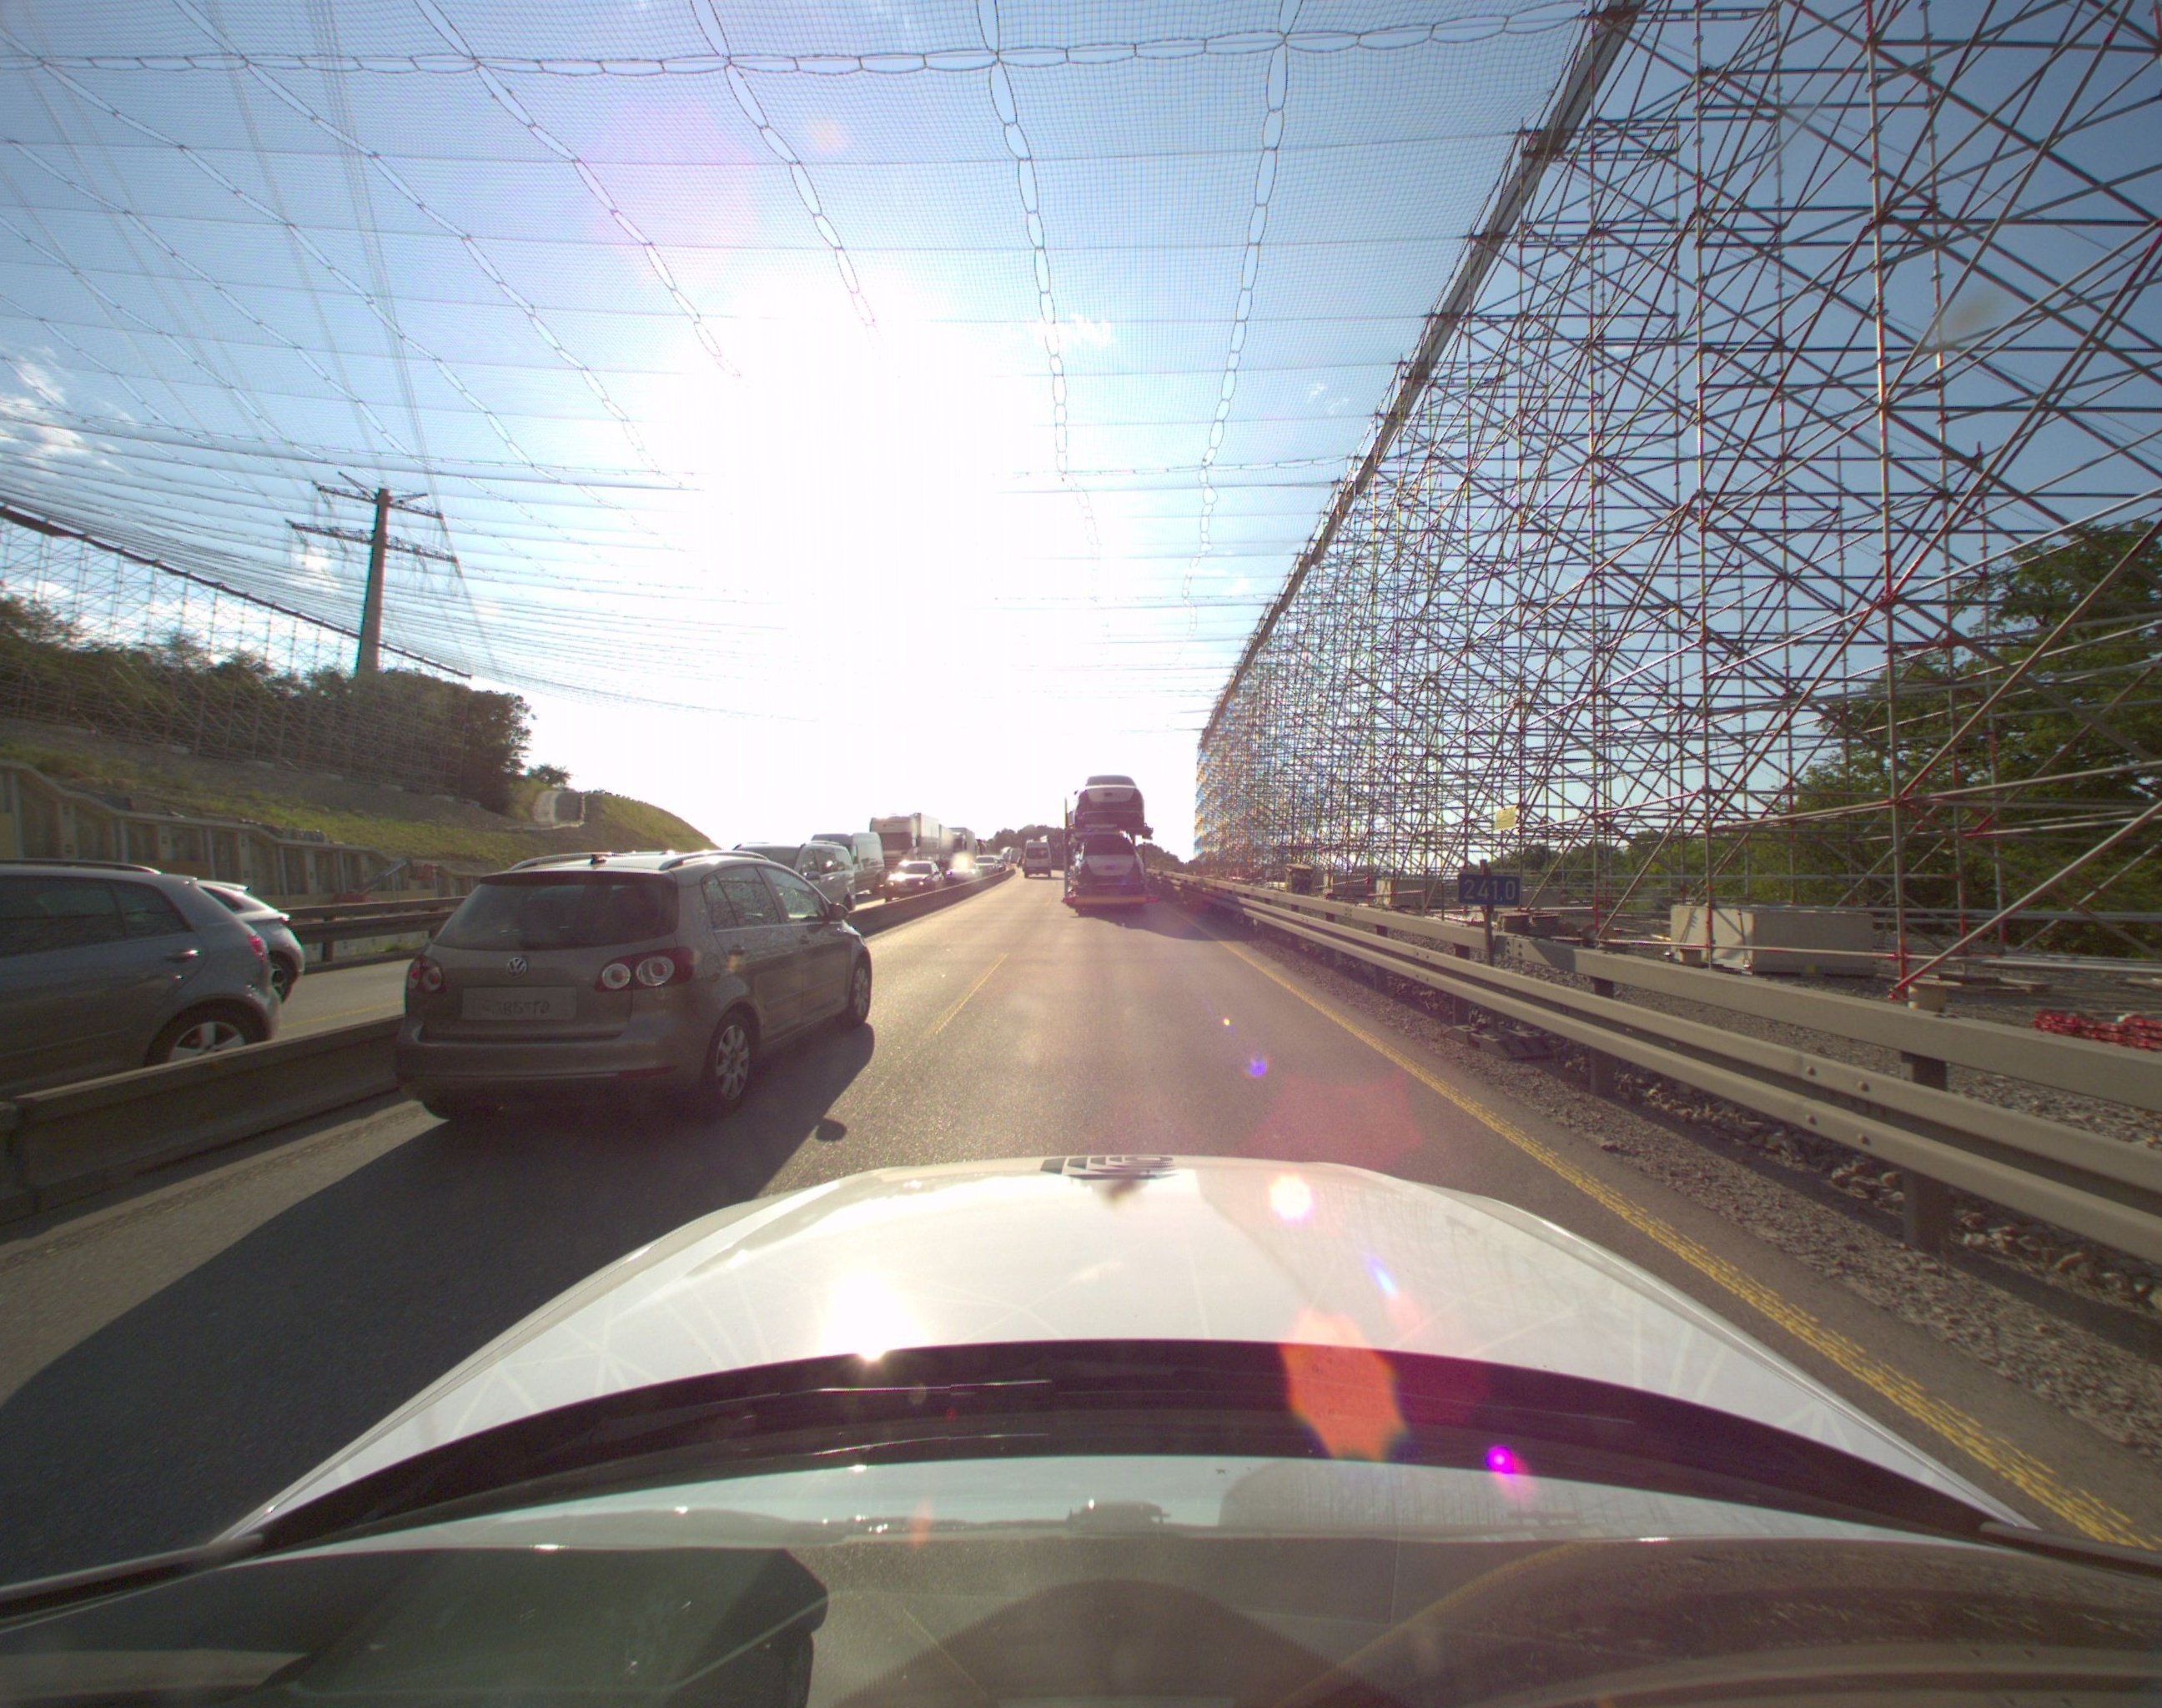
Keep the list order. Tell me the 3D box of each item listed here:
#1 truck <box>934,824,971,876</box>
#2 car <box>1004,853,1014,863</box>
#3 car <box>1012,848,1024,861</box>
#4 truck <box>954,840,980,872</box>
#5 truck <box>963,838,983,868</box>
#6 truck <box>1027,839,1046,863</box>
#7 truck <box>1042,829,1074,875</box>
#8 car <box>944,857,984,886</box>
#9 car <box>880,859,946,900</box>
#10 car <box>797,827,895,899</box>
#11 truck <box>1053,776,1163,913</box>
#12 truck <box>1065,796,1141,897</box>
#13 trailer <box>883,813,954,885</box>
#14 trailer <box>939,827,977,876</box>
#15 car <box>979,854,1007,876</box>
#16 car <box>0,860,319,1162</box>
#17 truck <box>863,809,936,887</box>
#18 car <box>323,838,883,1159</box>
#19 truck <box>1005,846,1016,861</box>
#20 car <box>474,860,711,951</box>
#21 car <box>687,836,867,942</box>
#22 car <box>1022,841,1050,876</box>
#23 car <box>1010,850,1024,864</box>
[{"bbox_3d":[-10.378,-0.267,66.087,2.469,4.046,5.608,0,-1,-4],"label":"truck"},{"bbox_3d":[-14.033,0.757,159.347,1.835,1.836,3.992,0,0,-6],"label":"car"},{"bbox_3d":[-10.034,0.022,129.047,1.629,2.014,3.987,0,0,-9],"label":"car"},{"bbox_3d":[-12.115,0.234,87.120,2.410,3.370,5.607,0,0,-5],"label":"truck"},{"bbox_3d":[-13.803,-0.126,104.095,2.430,3.785,5.603,0,-1,-7],"label":"truck"},{"bbox_3d":[-7.206,-0.396,130.981,2.528,3.648,8.884,0,0,-6],"label":"truck"},{"bbox_3d":[-2.902,-0.160,98.754,3.280,5.237,9.918,0,0,-5],"label":"truck"},{"bbox_3d":[-6.542,0.952,45.786,1.804,1.568,4.361,0,0,-3],"label":"car"},{"bbox_3d":[-6.300,0.909,30.977,1.804,1.419,4.513,0,0,-3],"label":"car"},{"bbox_3d":[-9.753,0.369,34.509,2.235,2.713,7.077,0,0,-1],"label":"car"},{"bbox_3d":[0.769,-0.202,26.191,2.789,3.497,10.606,0,0,1],"label":"truck"},{"bbox_3d":[0.722,-0.238,35.674,2.830,3.792,9.980,0,0,-1],"label":"truck"},{"bbox_3d":[-10.220,-0.241,52.684,2.664,4.015,13.316,0,0,-3],"label":"trailer"},{"bbox_3d":[-10.847,-0.163,73.067,2.423,3.963,14.074,0,0,-5],"label":"trailer"},{"bbox_3d":[-6.348,0.796,59.117,1.804,1.568,4.361,0,0,-3],"label":"car"},{"bbox_3d":[-6.359,0.815,3.825,1.577,1.552,4.218,0,0,0],"label":"car"},{"bbox_3d":[-9.784,-0.278,44.627,2.624,3.910,7.197,0,0,-2],"label":"truck"},{"bbox_3d":[-2.888,0.741,6.080,1.685,1.596,4.002,-1,0,2],"label":"car"},{"bbox_3d":[-16.010,-0.079,184.788,2.587,3.170,6.663,0,0,-6],"label":"truck"},{"bbox_3d":[-9.464,0.900,16.376,1.786,1.540,4.909,0,0,0],"label":"car"},{"bbox_3d":[-6.129,0.641,17.202,1.802,1.869,5.280,0,0,0],"label":"car"},{"bbox_3d":[-3.407,0.329,61.005,1.918,2.492,5.398,0,0,-5],"label":"car"},{"bbox_3d":[-8.585,0.402,109.390,1.823,1.772,3.993,0,0,-5],"label":"car"}]
